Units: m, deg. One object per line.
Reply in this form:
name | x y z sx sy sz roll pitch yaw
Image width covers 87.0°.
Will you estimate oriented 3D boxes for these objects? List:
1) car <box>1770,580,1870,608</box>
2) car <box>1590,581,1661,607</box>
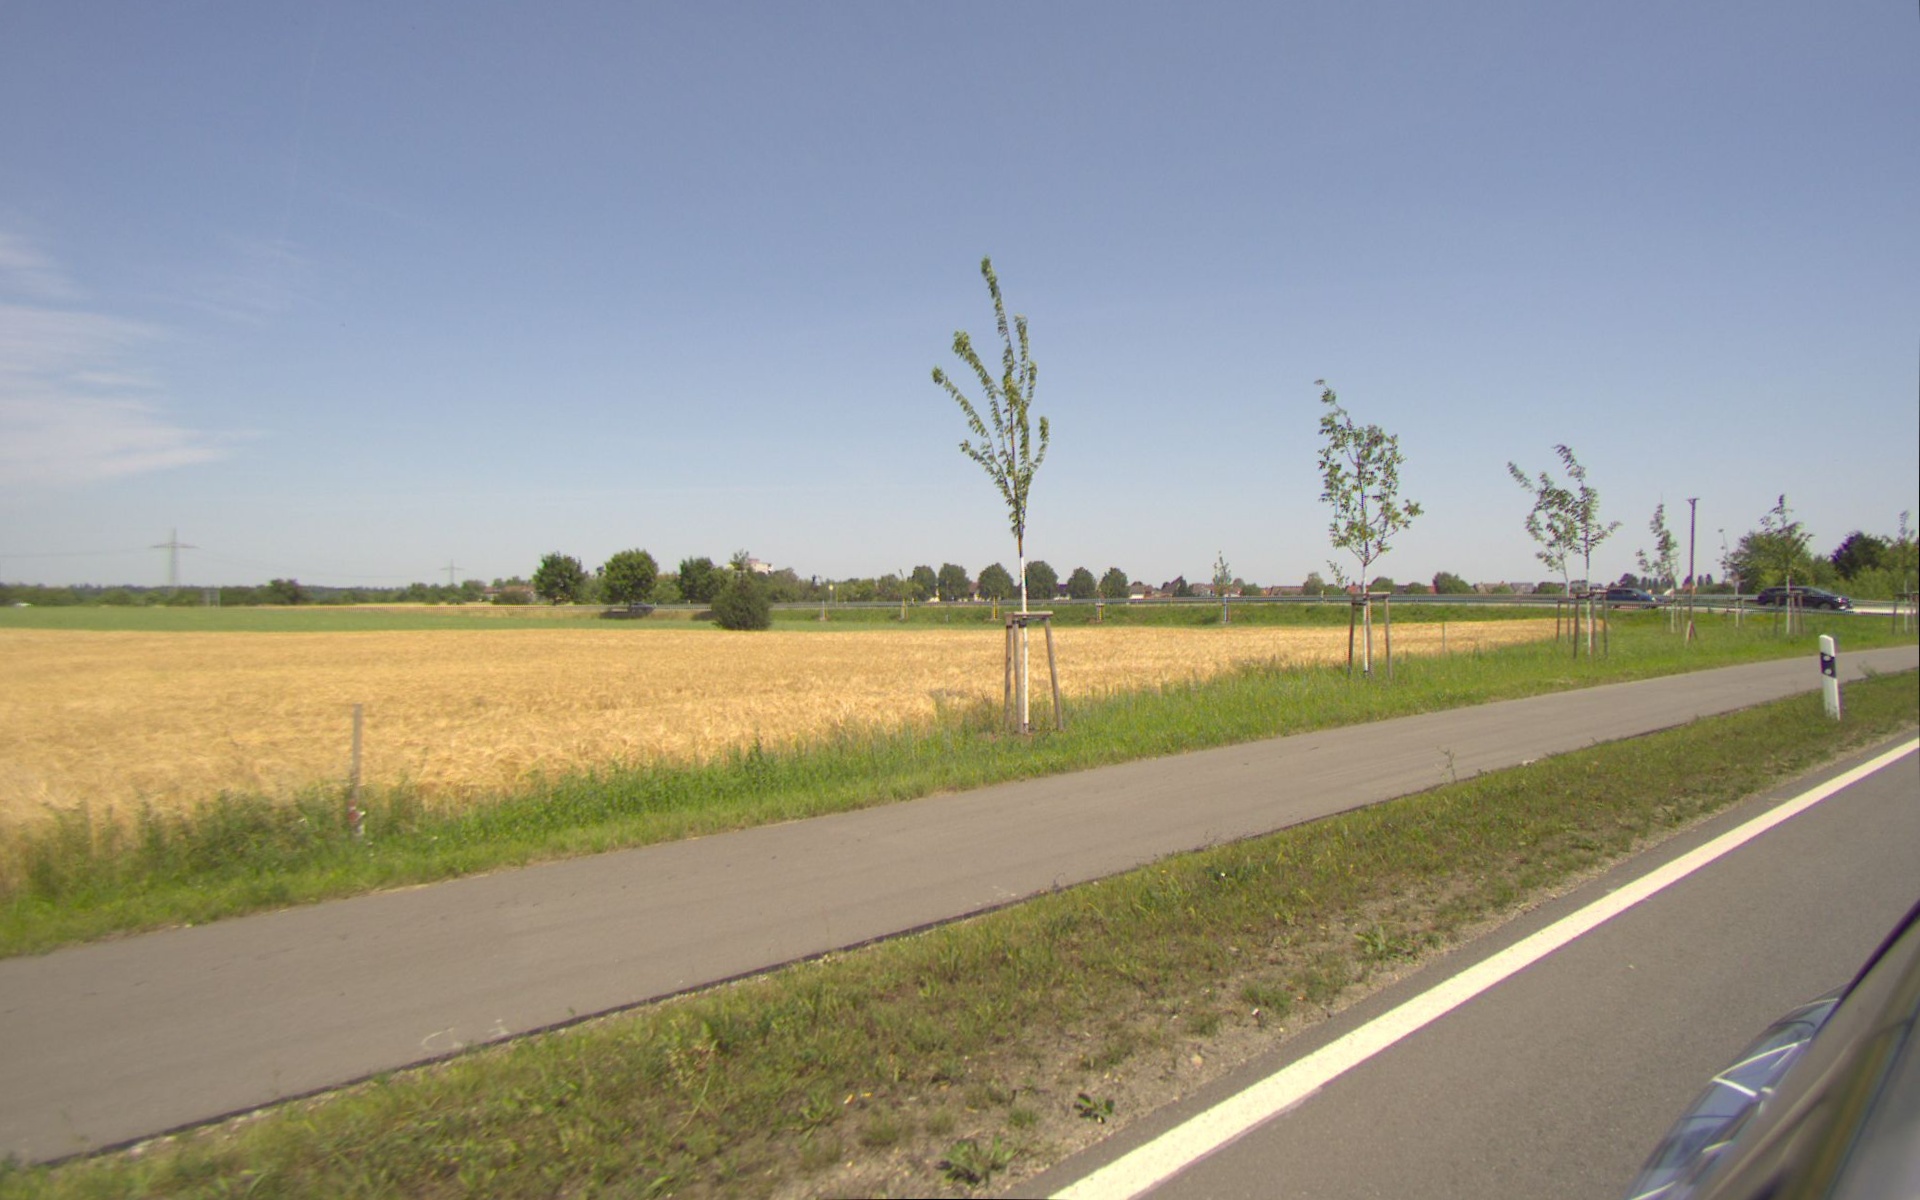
car | 54.438 -0.392 64.156 1.778 1.661 4.533 -1 2 -29
car | 48.470 -0.460 73.778 1.885 1.831 3.916 -1 0 -38
